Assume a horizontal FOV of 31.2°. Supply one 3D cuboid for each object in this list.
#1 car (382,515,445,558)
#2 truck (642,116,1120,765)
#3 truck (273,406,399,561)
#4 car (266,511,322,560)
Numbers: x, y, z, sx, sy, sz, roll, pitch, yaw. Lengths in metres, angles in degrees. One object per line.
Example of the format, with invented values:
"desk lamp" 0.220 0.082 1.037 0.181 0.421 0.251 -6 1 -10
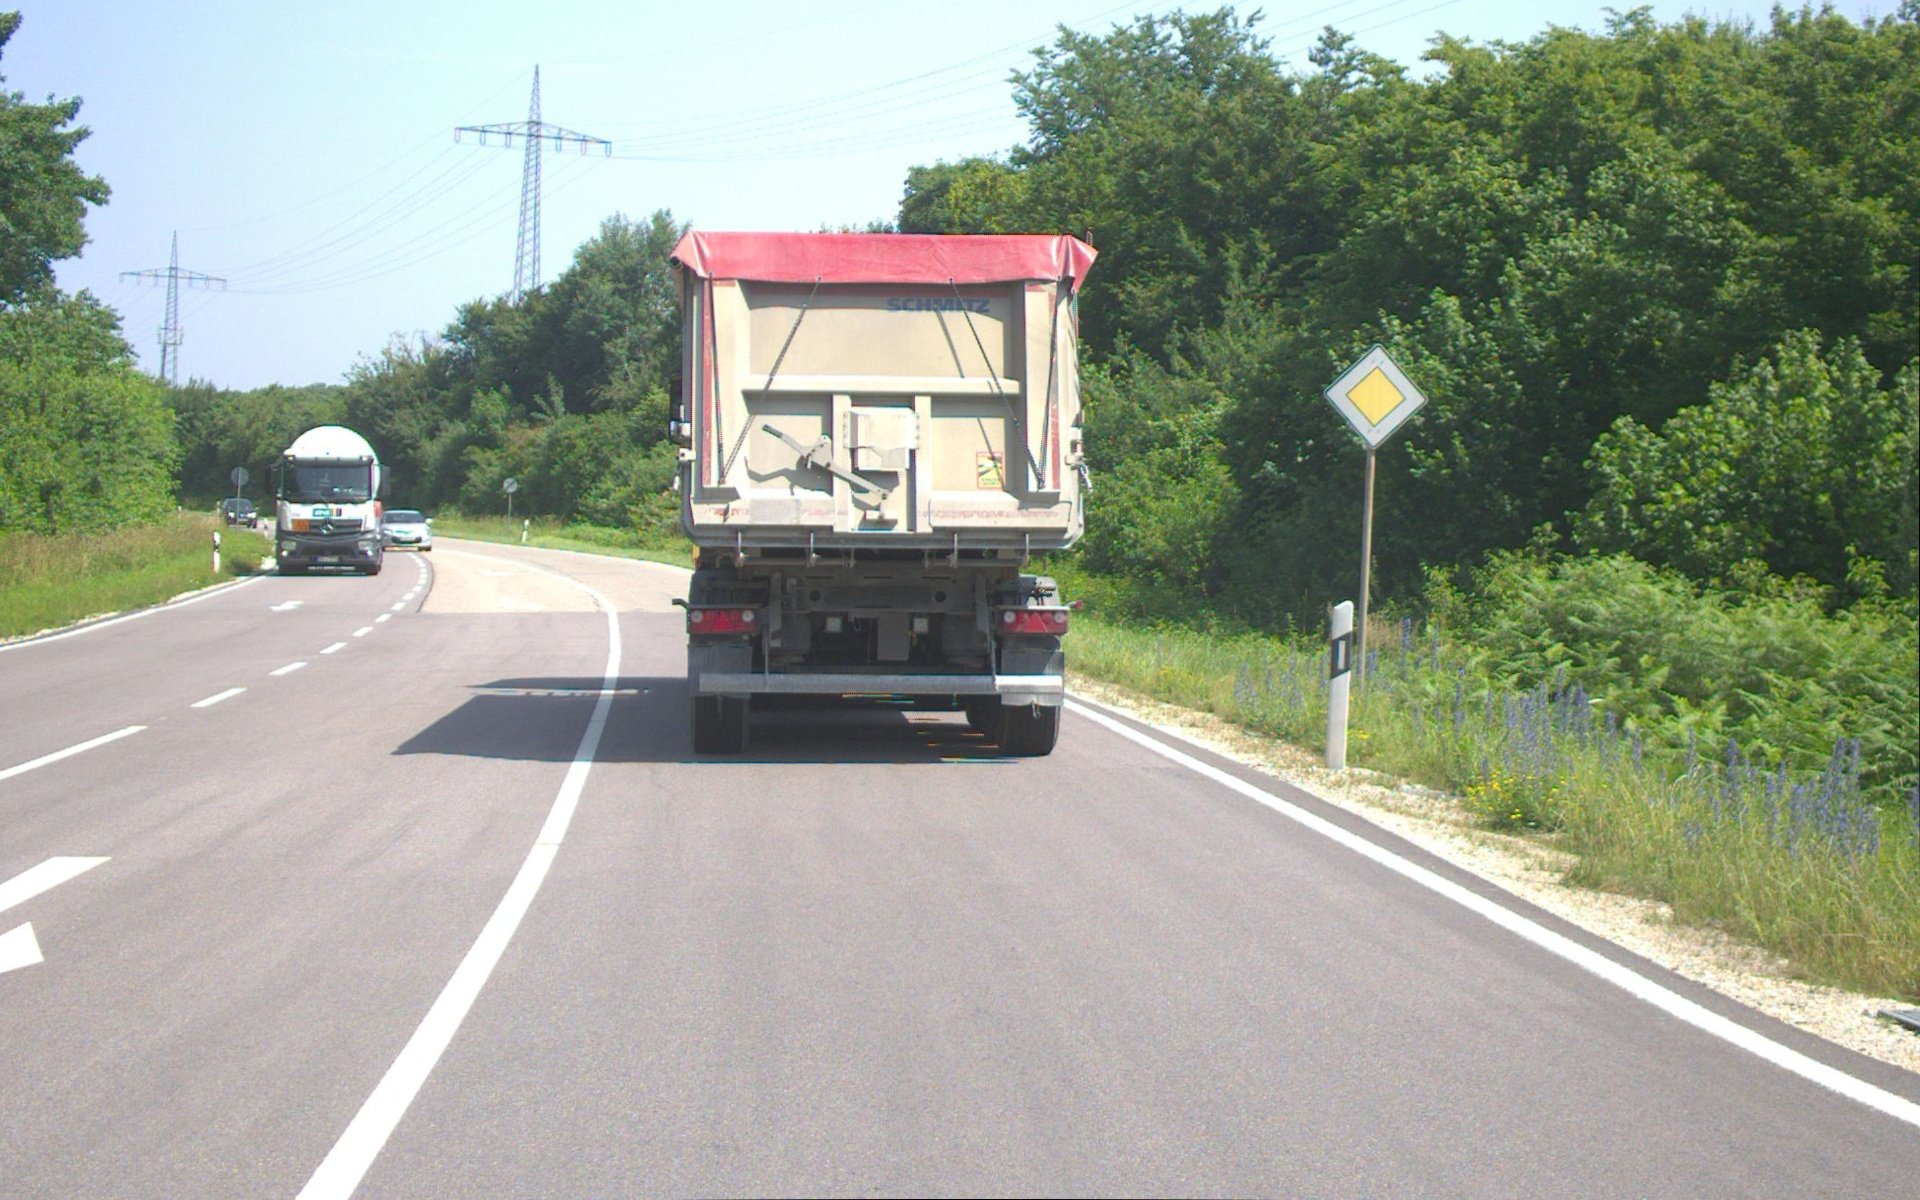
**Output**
"car" -18.803 -2.177 118.379 1.708 1.414 4.099 0 1 -3
"truck" -0.872 -1.109 27.058 2.893 3.949 11.935 1 1 -4
"truck" -15.565 -2.861 86.191 2.626 3.658 8.798 0 1 -7
"car" -24.675 -2.368 127.505 1.842 1.773 4.895 0 1 -9
